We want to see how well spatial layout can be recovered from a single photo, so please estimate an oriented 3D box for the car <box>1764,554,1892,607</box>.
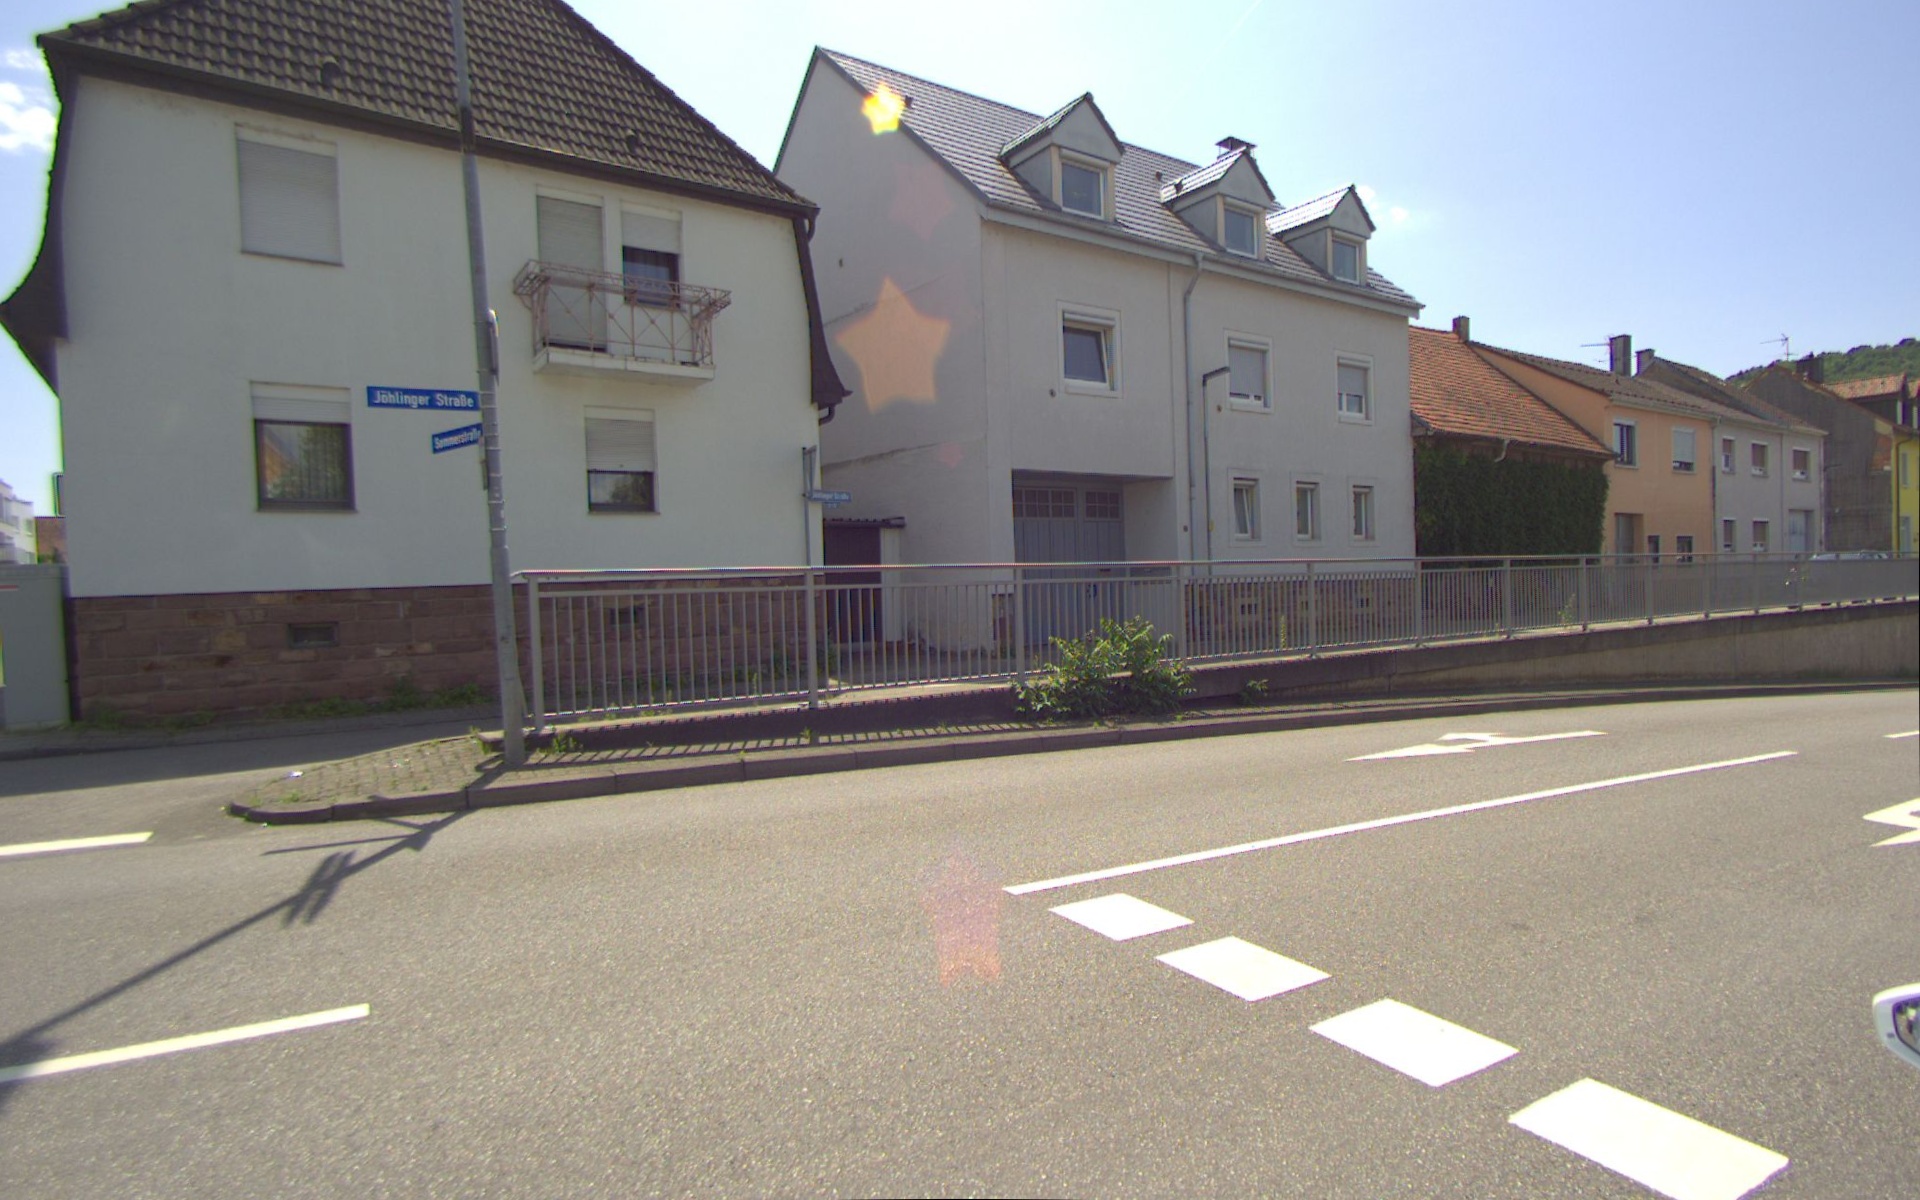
[{"bbox_3d":[24.974,-0.564,28.862,4.348,1.424,1.774,-1,1,-35],"label":"car"}]
